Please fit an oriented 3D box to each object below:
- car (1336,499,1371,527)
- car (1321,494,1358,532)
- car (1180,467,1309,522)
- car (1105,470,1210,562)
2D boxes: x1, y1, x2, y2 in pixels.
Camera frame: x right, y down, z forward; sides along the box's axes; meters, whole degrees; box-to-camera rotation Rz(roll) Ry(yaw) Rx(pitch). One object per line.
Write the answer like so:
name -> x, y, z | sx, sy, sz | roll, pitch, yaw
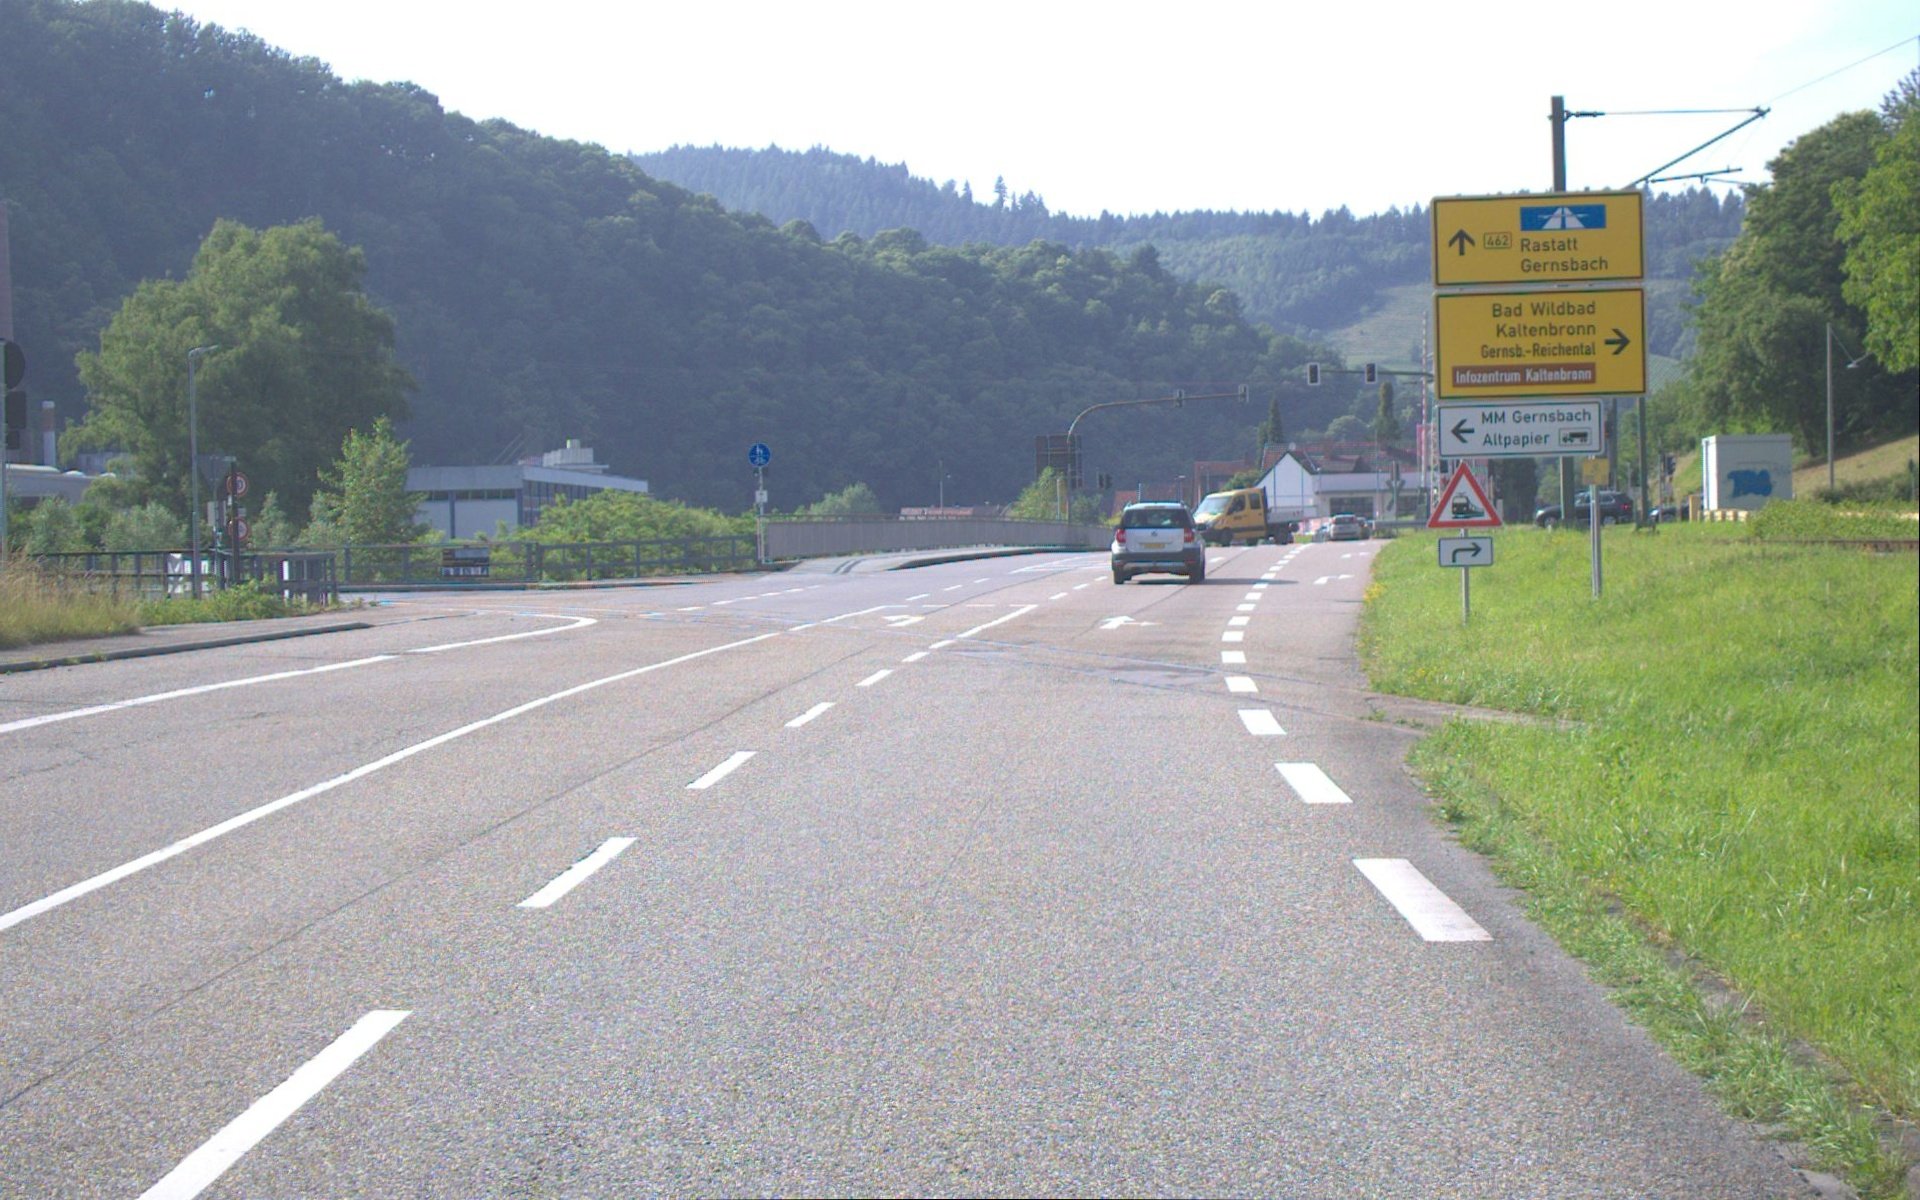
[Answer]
car -> 23.495, -5.199, 205.462 | 1.994, 1.612, 3.999 | -2, 2, 6
car -> 21.263, -4.885, 192.784 | 1.994, 2.006, 3.999 | -2, 2, 6
car -> 11.838, -4.377, 143.064 | 5.280, 2.007, 1.999 | -4, 1, -37
car -> 4.040, -1.714, 70.629 | 1.994, 1.717, 3.990 | -3, 1, 3
